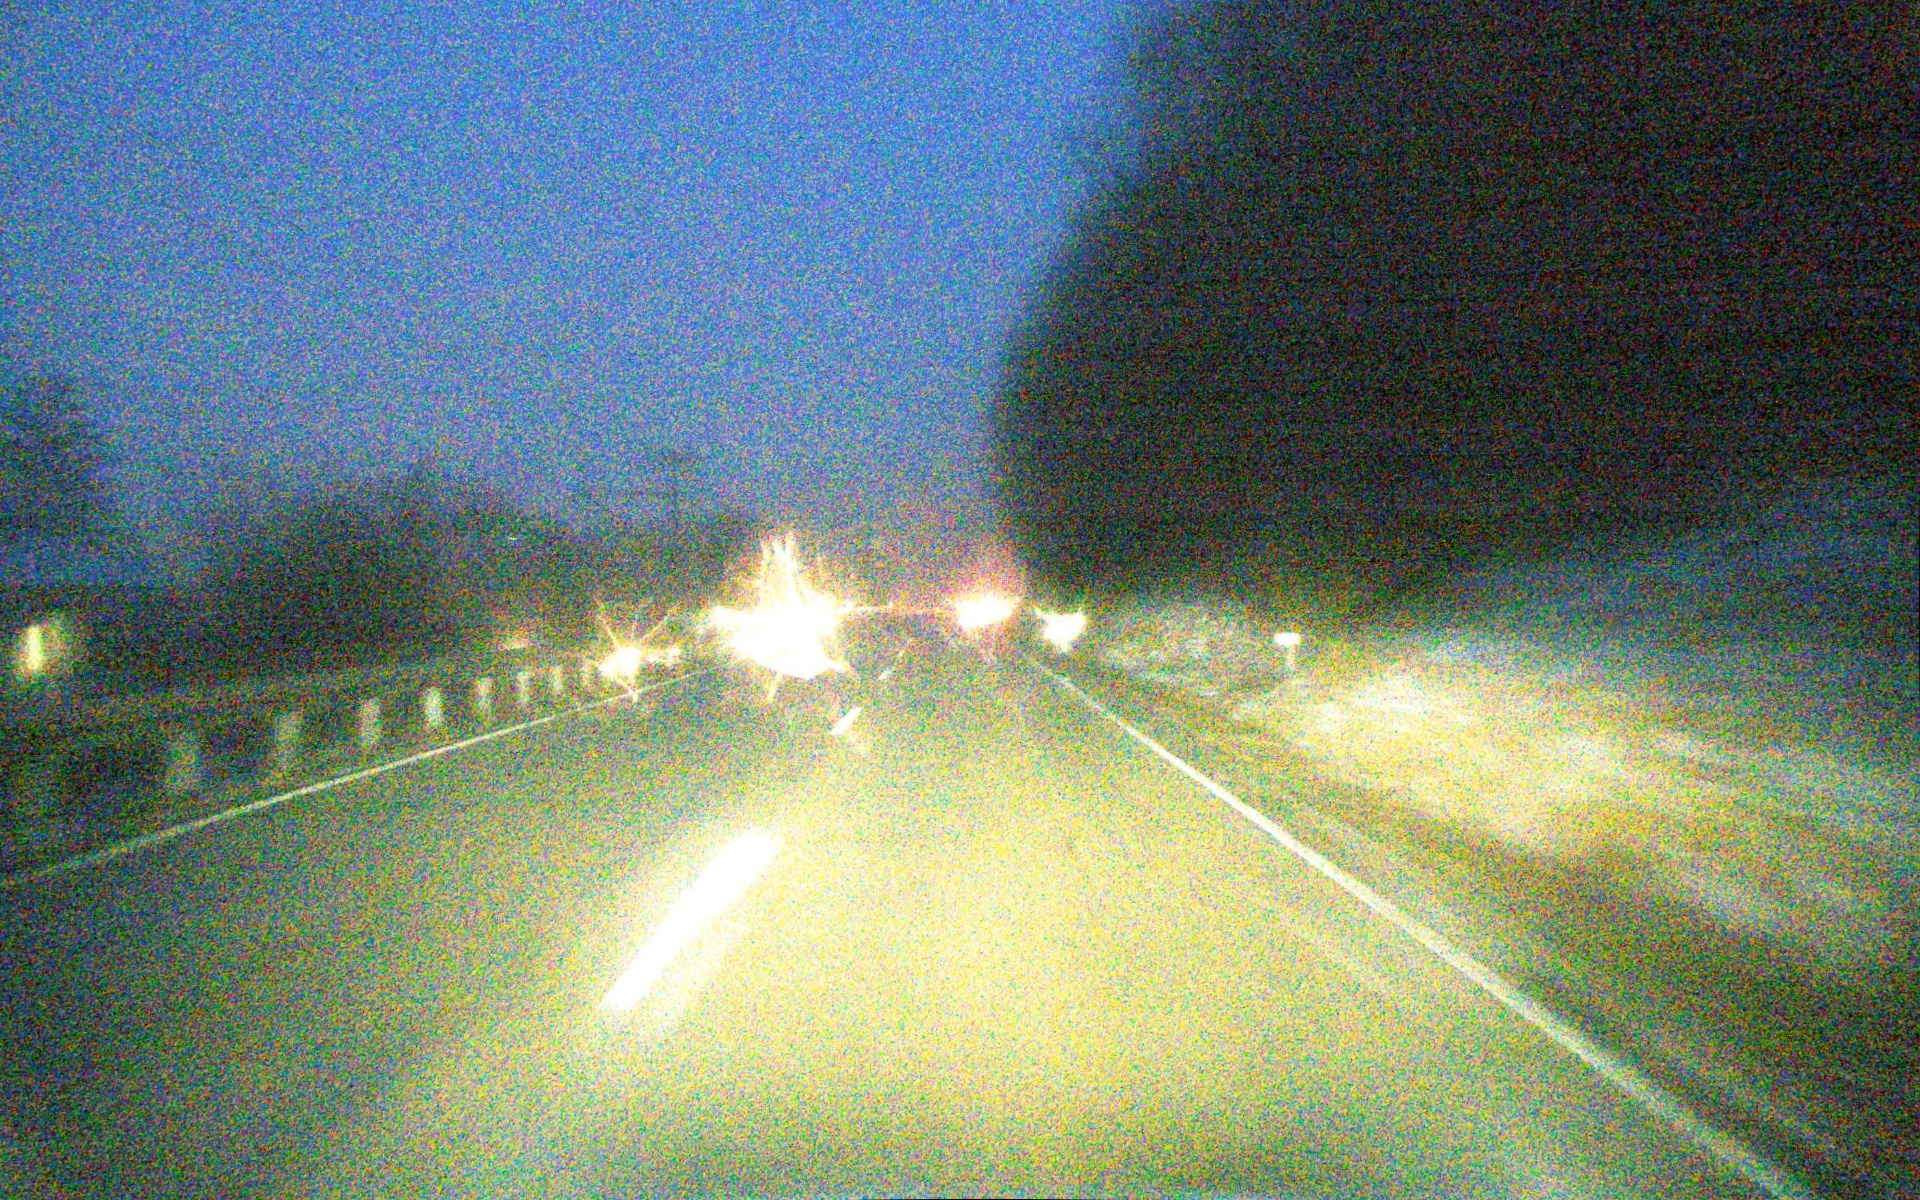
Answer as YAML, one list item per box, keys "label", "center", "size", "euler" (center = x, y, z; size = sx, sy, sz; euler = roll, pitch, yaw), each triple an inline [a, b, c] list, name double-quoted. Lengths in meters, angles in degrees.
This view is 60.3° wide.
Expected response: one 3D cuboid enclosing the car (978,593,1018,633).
- label: "car"
  center: [2.092, 0.768, 92.918]
  size: [2.152, 2.049, 4.206]
  euler: [1, -3, 1]
